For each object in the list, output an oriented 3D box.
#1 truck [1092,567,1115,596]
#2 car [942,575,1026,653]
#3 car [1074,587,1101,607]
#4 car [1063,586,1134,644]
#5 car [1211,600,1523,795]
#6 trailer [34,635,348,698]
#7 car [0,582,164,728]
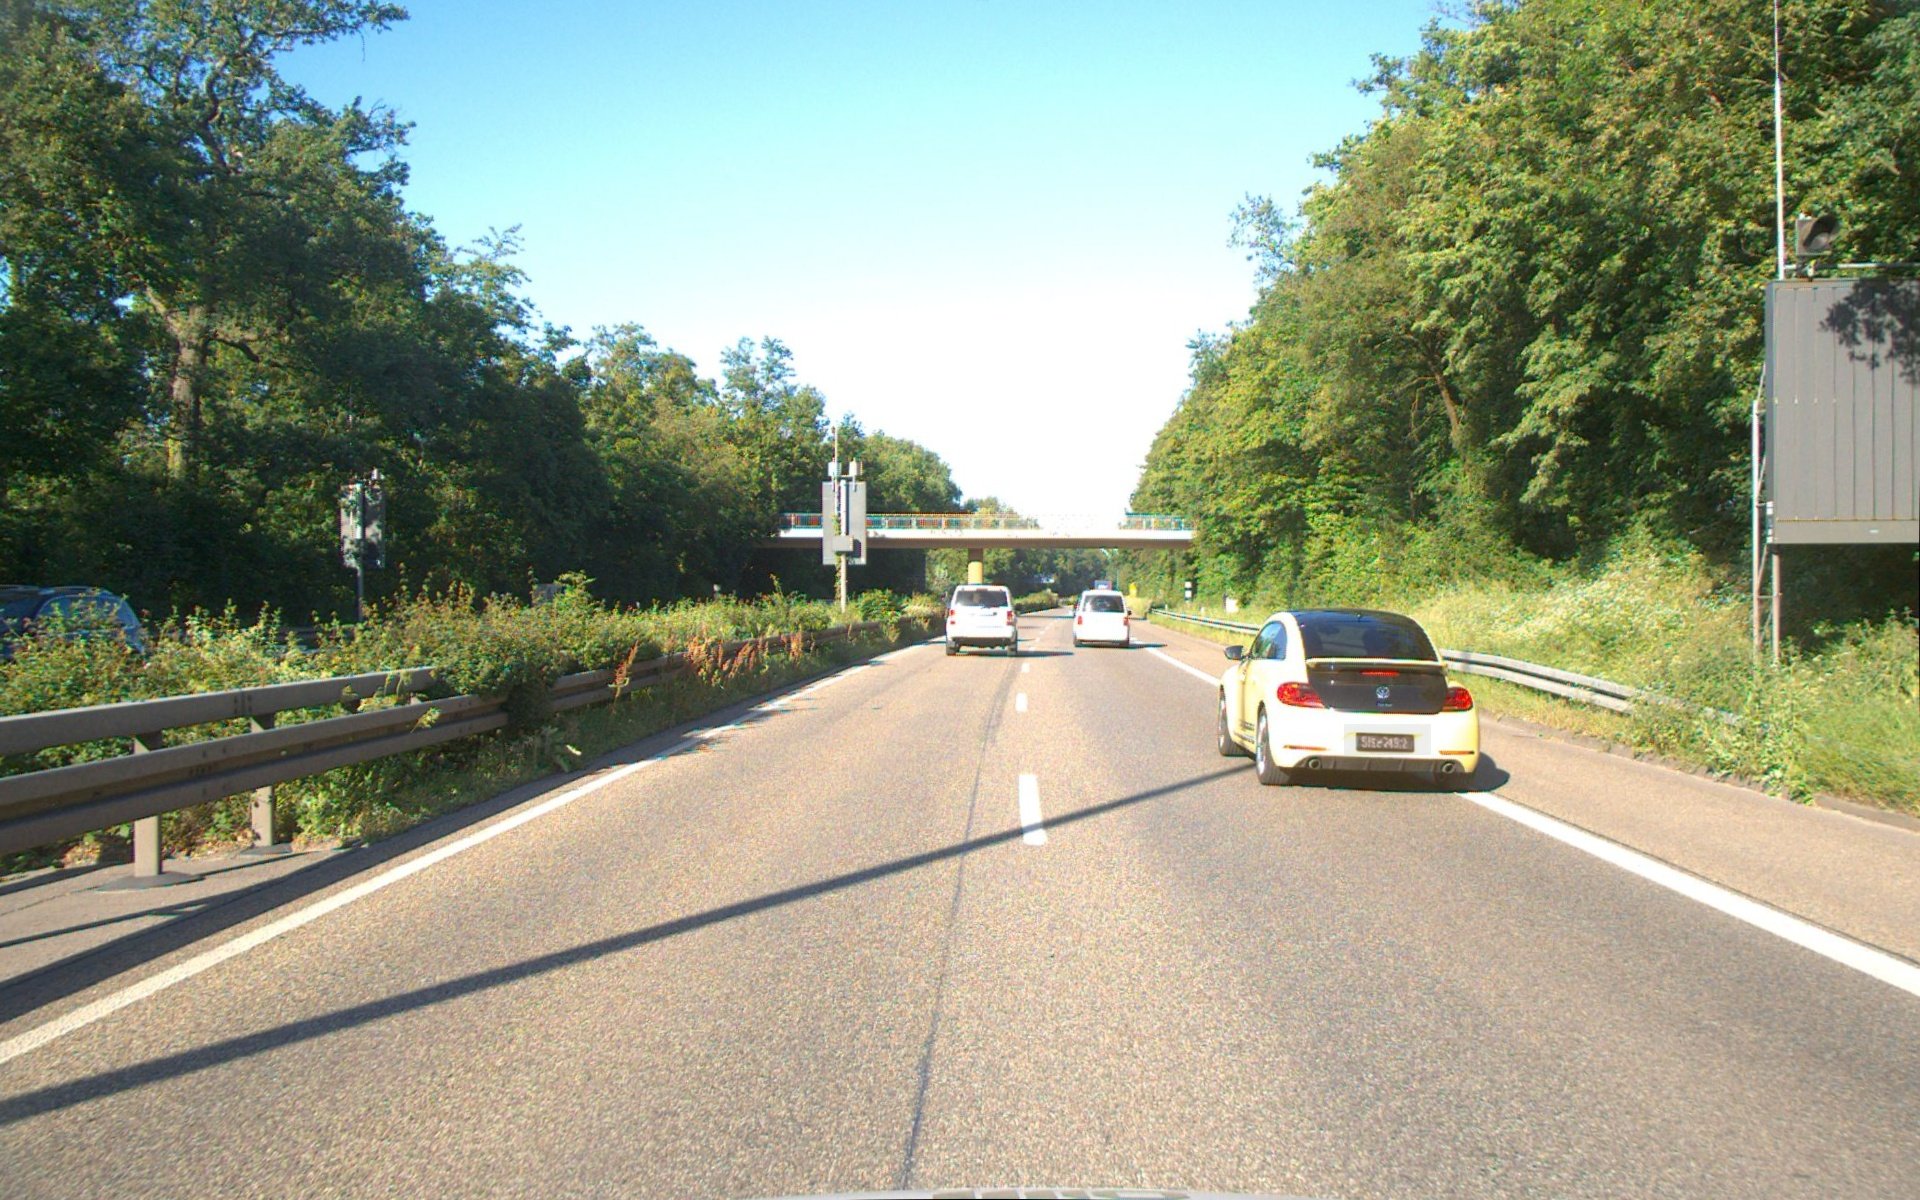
[{"bbox_3d":[21.777,-2.812,250.342,3.422,4.246,8.867,0,0,5],"label":"truck"},{"bbox_3d":[0.662,0.348,43.167,2.042,1.860,4.001,2,0,2],"label":"car"},{"bbox_3d":[9.611,-0.222,124.893,1.951,1.422,4.002,1,0,5],"label":"car"},{"bbox_3d":[4.450,0.463,53.632,1.826,1.801,4.468,0,0,-1],"label":"car"},{"bbox_3d":[3.512,0.760,15.120,1.841,1.487,4.356,1,0,1],"label":"car"},{"bbox_3d":[-12.386,1.045,27.295,2.212,0.753,6.331,0,0,0],"label":"trailer"},{"bbox_3d":[-12.485,0.644,21.530,1.920,1.754,4.744,1,0,0],"label":"car"}]
